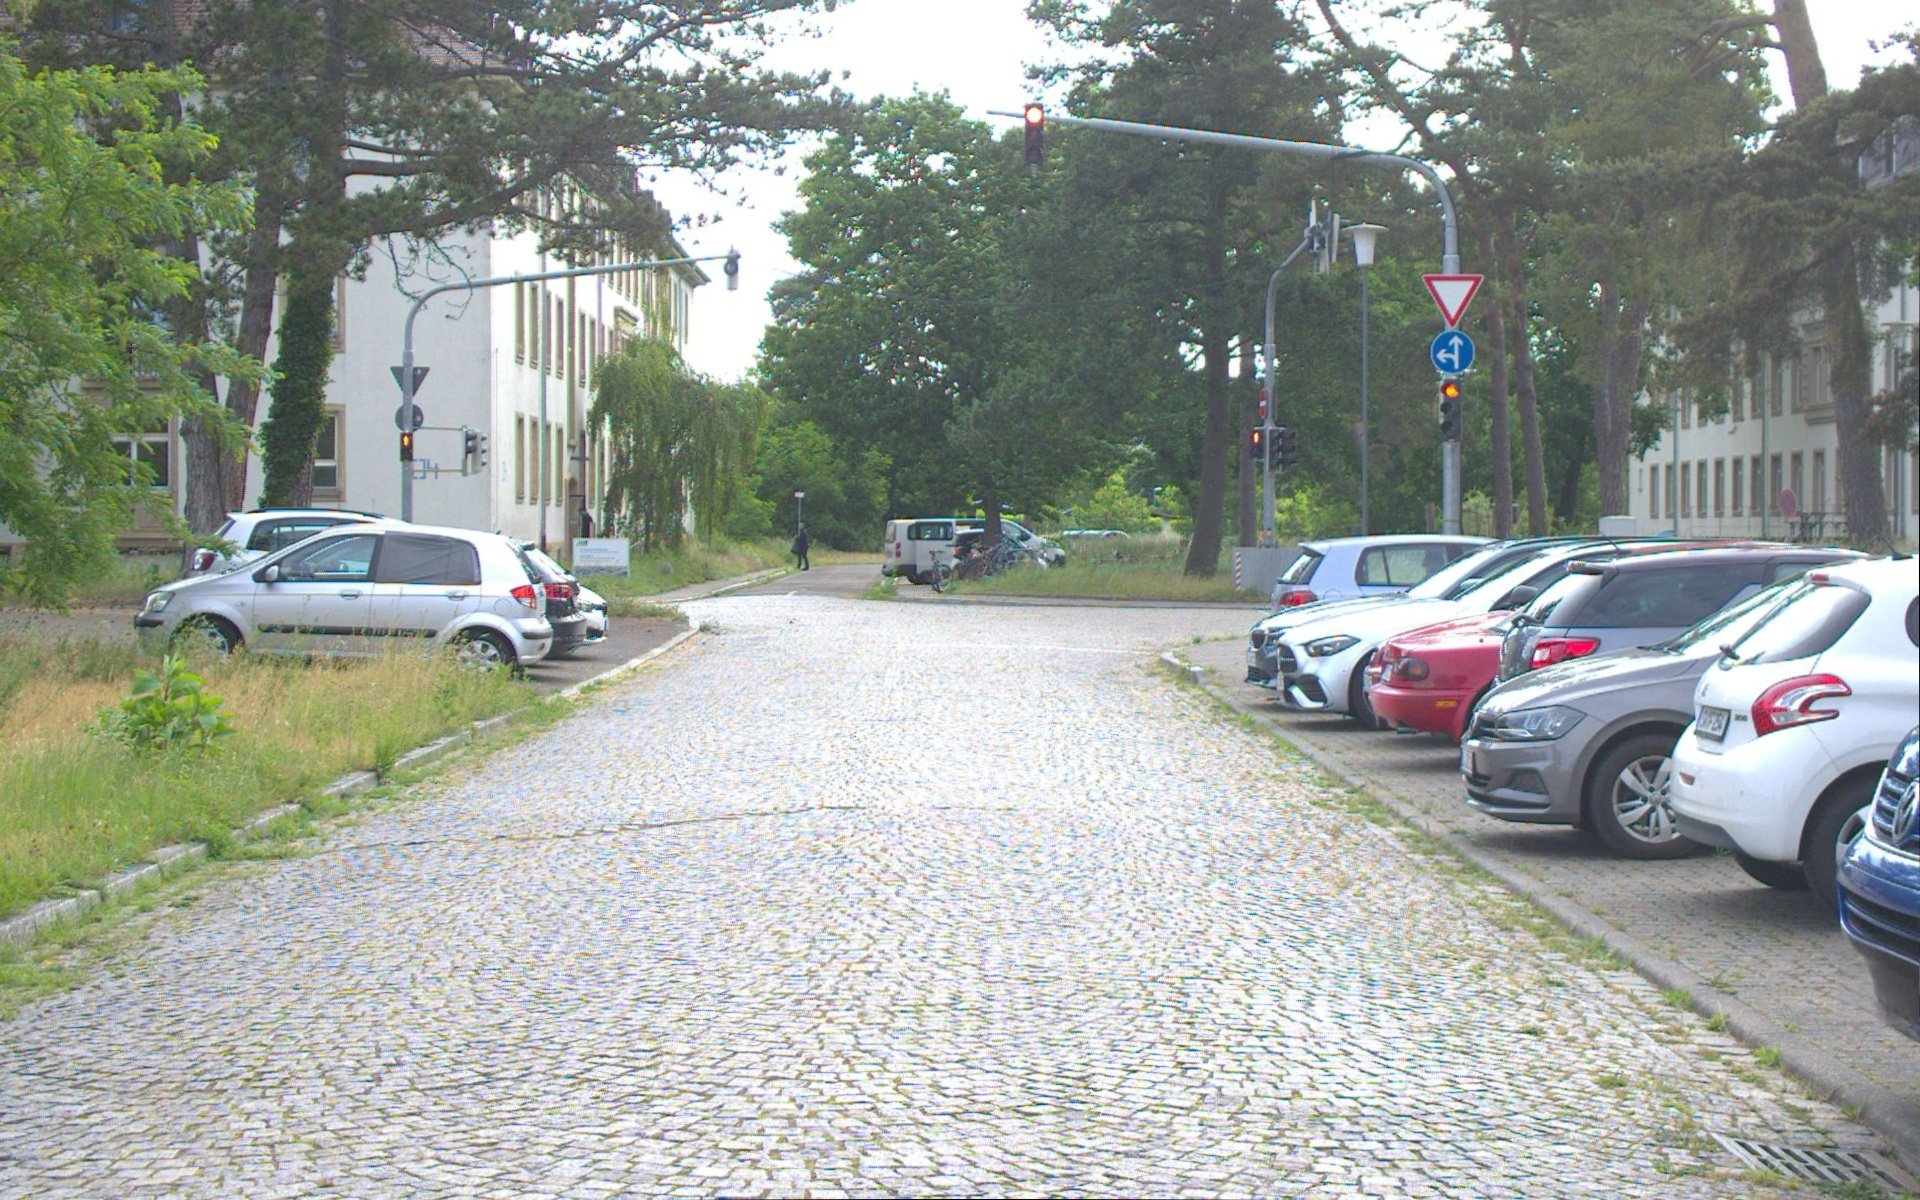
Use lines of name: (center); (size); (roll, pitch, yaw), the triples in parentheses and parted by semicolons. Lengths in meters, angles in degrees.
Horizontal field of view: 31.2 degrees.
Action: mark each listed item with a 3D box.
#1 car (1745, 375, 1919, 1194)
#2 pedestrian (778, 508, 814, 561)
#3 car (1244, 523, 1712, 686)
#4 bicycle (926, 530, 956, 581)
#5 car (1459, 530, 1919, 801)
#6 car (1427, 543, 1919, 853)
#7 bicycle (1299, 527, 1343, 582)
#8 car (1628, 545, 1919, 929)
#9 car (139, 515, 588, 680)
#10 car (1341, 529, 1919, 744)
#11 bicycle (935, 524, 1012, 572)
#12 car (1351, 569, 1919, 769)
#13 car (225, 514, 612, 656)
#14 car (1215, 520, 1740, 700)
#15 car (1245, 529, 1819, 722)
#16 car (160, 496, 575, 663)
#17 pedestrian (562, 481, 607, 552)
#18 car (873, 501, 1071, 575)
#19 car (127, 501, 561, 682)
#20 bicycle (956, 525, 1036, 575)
car: (4.710, 0.412, 9.063); (4.795, 1.997, 1.966); (-1, 1, -2)
pedestrian: (-6.180, -2.469, 129.479); (1.239, 1.952, 1.121); (2, 1, -5)
car: (4.903, 0.019, 32.794); (4.134, 1.458, 1.634); (-1, 1, -5)
bicycle: (-0.442, -1.042, 80.266); (0.663, 1.167, 1.888); (2, 1, 0)
car: (4.815, 0.348, 20.146); (3.505, 1.482, 1.743); (-1, 1, -1)
car: (4.536, 0.447, 17.280); (4.130, 1.442, 1.766); (-1, 1, 0)
bicycle: (7.304, -0.927, 69.634); (0.663, 1.047, 1.888); (2, 2, 0)
car: (4.797, 0.513, 14.376); (3.653, 1.473, 1.766); (-1, 1, 0)
car: (-5.904, -0.052, 34.453); (4.297, 1.548, 1.812); (-1, 1, -6)
car: (4.952, 0.239, 25.113); (4.105, 1.471, 1.685); (-1, 1, -2)
bicycle: (0.349, -1.330, 88.394); (1.881, 1.167, 0.665); (2, 1, -6)
car: (4.470, 0.437, 22.775); (3.587, 1.218, 1.628); (0, 2, 1)
car: (-6.192, -0.193, 39.711); (4.297, 1.548, 1.812); (-1, 1, -6)
car: (4.518, 0.054, 30.240); (4.227, 1.474, 1.710); (-1, 2, -11)
car: (4.522, 0.171, 27.475); (4.184, 1.432, 1.756); (-1, 2, -7)
car: (-6.361, -0.242, 37.254); (4.297, 1.726, 1.653); (-1, 1, -5)
pedestrian: (-10.632, -2.368, 97.379); (1.074, 1.952, 1.121); (2, 1, 0)
car: (0.333, -1.792, 99.695); (5.374, 2.094, 2.179); (0, 1, -12)
car: (-5.652, -0.099, 31.854); (3.720, 1.475, 1.673); (2, 1, -3)
bicycle: (0.884, -1.241, 84.898); (1.881, 1.167, 0.665); (2, 1, -6)
